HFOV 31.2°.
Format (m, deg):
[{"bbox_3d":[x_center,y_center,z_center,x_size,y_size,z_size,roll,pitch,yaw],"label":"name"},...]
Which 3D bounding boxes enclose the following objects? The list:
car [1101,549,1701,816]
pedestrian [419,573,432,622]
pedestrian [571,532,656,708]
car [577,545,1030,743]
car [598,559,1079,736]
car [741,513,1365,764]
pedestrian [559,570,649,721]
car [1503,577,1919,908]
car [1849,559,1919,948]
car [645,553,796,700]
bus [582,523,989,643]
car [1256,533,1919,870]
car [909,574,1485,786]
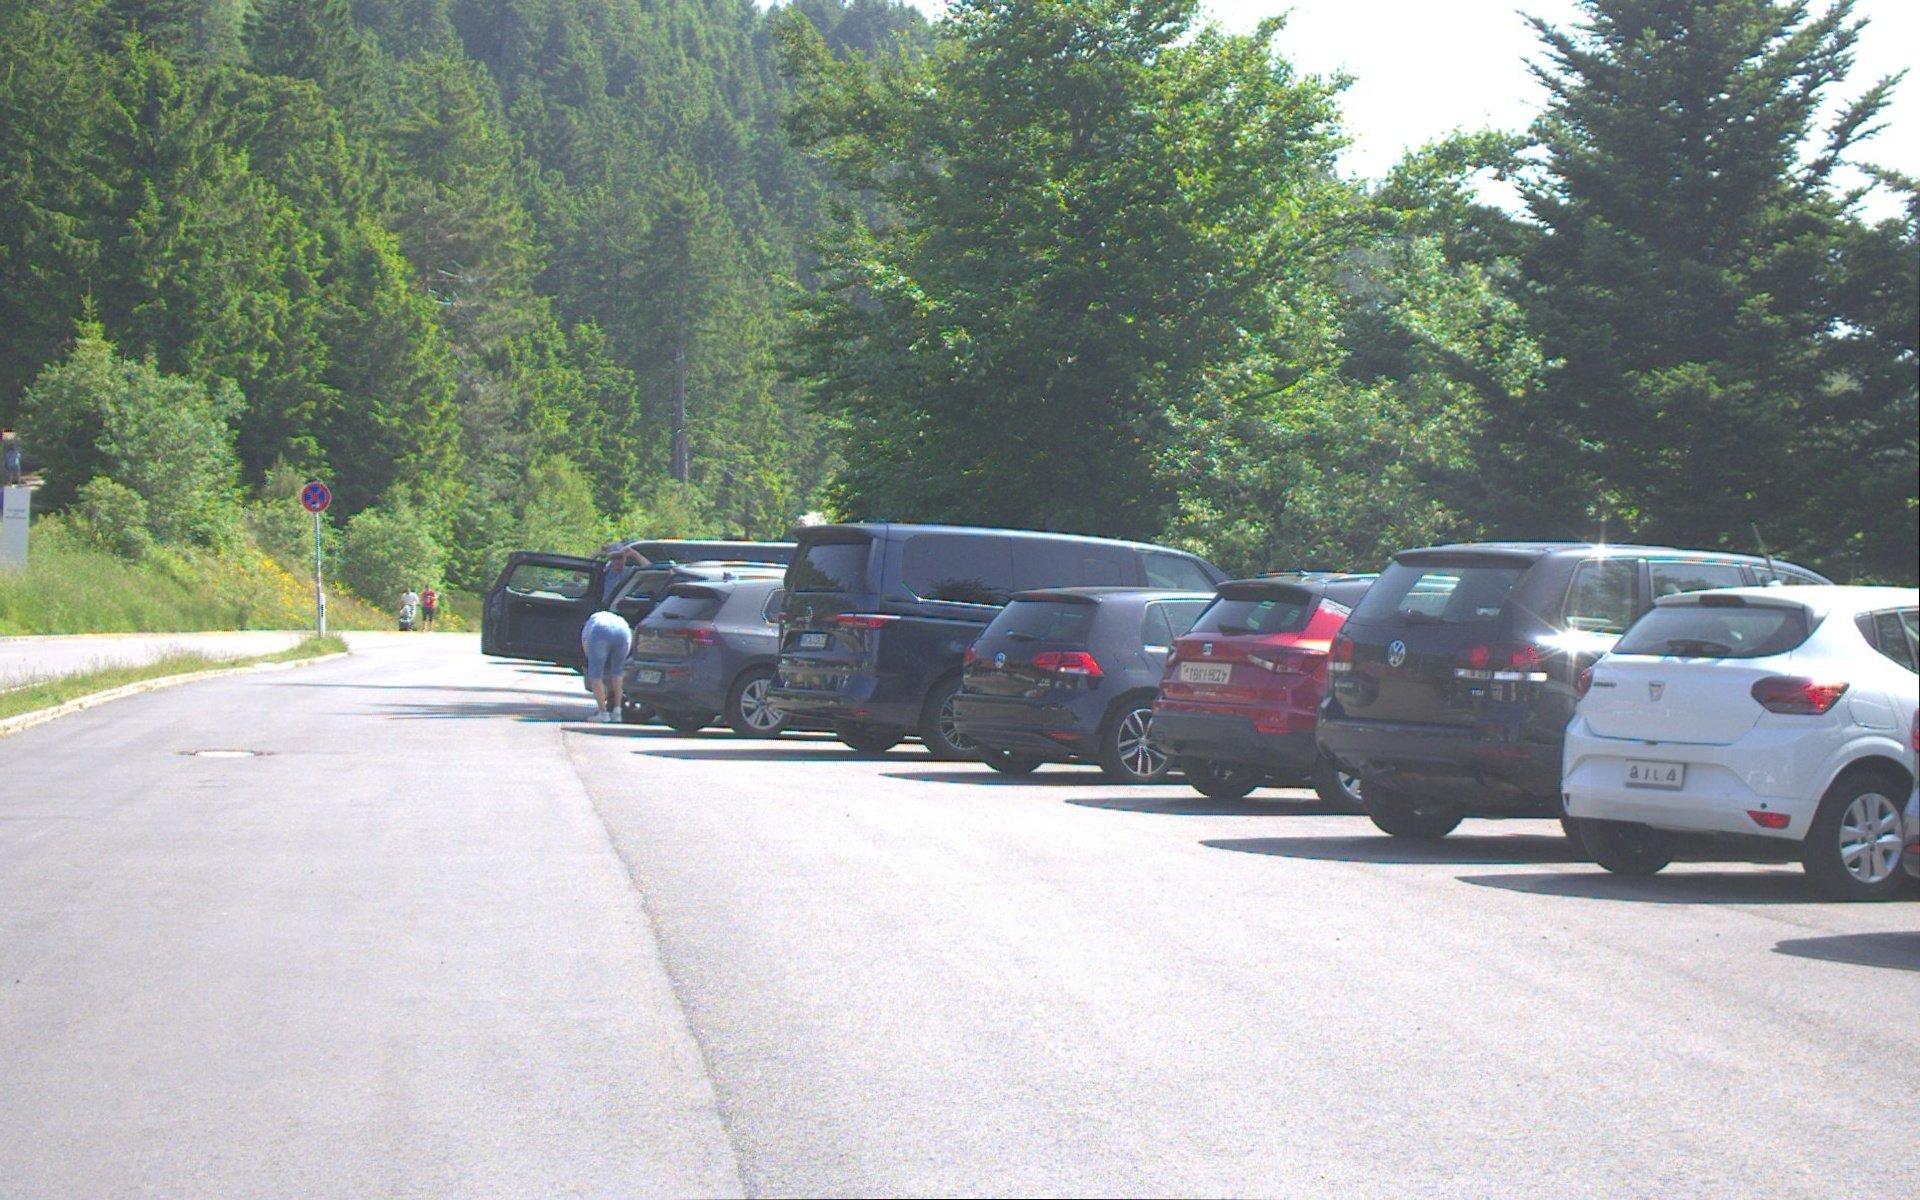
[{"bbox_3d":[3.027,0.552,23.120,3.989,1.584,1.863,2,0,-44],"label":"car"},{"bbox_3d":[-19.139,-0.085,123.094,0.394,1.741,0.406,1,1,3],"label":"pedestrian"},{"bbox_3d":[-3.539,0.203,35.107,0.578,1.755,0.633,3,-1,-27],"label":"pedestrian"},{"bbox_3d":[-1.550,0.454,34.555,3.987,1.656,2.000,5,-2,-34],"label":"car"},{"bbox_3d":[-1.116,0.444,31.769,3.986,1.438,1.840,2,0,-28],"label":"car"},{"bbox_3d":[0.790,0.325,28.732,4.756,1.873,1.967,2,0,-26],"label":"car"},{"bbox_3d":[-3.400,0.425,32.878,0.773,1.398,0.669,-1,2,0],"label":"pedestrian"},{"bbox_3d":[4.790,0.705,17.560,3.988,1.471,1.767,2,0,-40],"label":"car"},{"bbox_3d":[5.697,0.695,14.659,3.989,1.543,1.819,2,0,-44],"label":"car"},{"bbox_3d":[-3.632,0.358,51.427,1.904,1.966,4.820,4,0,-6],"label":"car"},{"bbox_3d":[-5.661,-0.603,111.981,12.866,3.566,2.981,1,2,10],"label":"bus"},{"bbox_3d":[3.961,0.570,19.710,4.260,1.689,1.990,2,0,-39],"label":"car"},{"bbox_3d":[1.795,0.607,25.600,3.987,1.410,1.744,2,0,-34],"label":"car"}]
